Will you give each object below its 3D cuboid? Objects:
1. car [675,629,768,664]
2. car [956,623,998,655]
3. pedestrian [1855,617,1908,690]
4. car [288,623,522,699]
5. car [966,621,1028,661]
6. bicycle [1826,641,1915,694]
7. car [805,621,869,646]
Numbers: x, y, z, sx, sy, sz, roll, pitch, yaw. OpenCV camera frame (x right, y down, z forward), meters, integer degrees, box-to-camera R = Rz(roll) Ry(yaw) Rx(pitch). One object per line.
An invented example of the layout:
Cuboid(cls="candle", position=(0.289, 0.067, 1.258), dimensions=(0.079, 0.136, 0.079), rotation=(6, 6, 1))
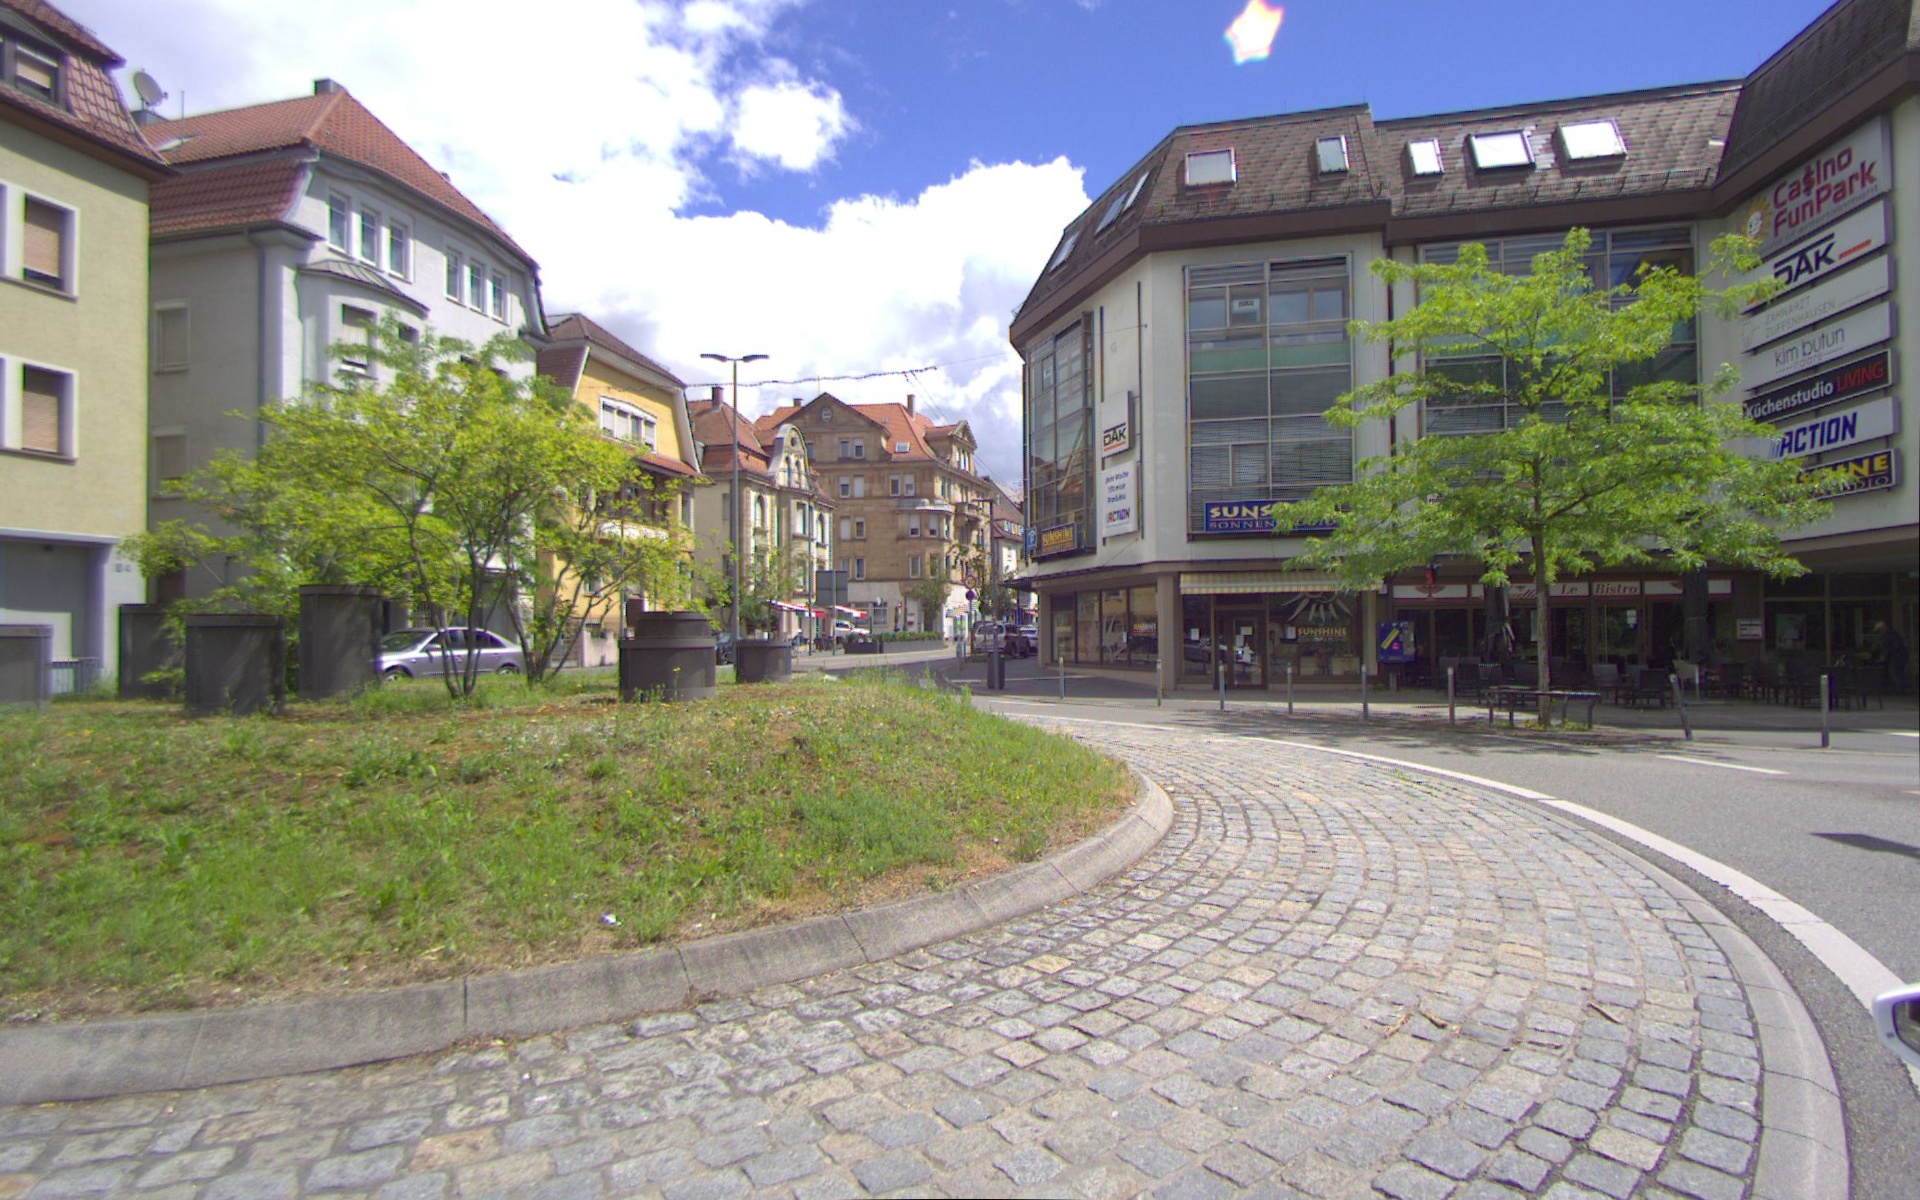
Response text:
Cuboid(cls="car", position=(-9.504, 1.837, 40.456), dimensions=(1.681, 1.262, 4.413), rotation=(0, -1, 16))
Cuboid(cls="car", position=(1.012, 2.202, 57.819), dimensions=(1.792, 1.729, 4.443), rotation=(1, -1, 9))
Cuboid(cls="pedestrian", position=(21.643, 1.246, 23.599), dimensions=(0.684, 1.697, 0.618), rotation=(0, -1, 4))
Cuboid(cls="car", position=(-11.140, 1.234, 20.493), dimensions=(1.682, 1.371, 4.000), rotation=(0, -3, 22))
Cuboid(cls="car", position=(1.789, 1.906, 47.023), dimensions=(1.794, 1.753, 4.234), rotation=(-2, -2, 18))
Cuboid(cls="bicycle", position=(21.445, 1.571, 23.680), dimensions=(0.492, 1.183, 1.524), rotation=(3, -2, -41))
Cuboid(cls="car", position=(-8.810, 2.402, 72.277), dimensions=(4.346, 1.799, 2.000), rotation=(0, -1, -1))
